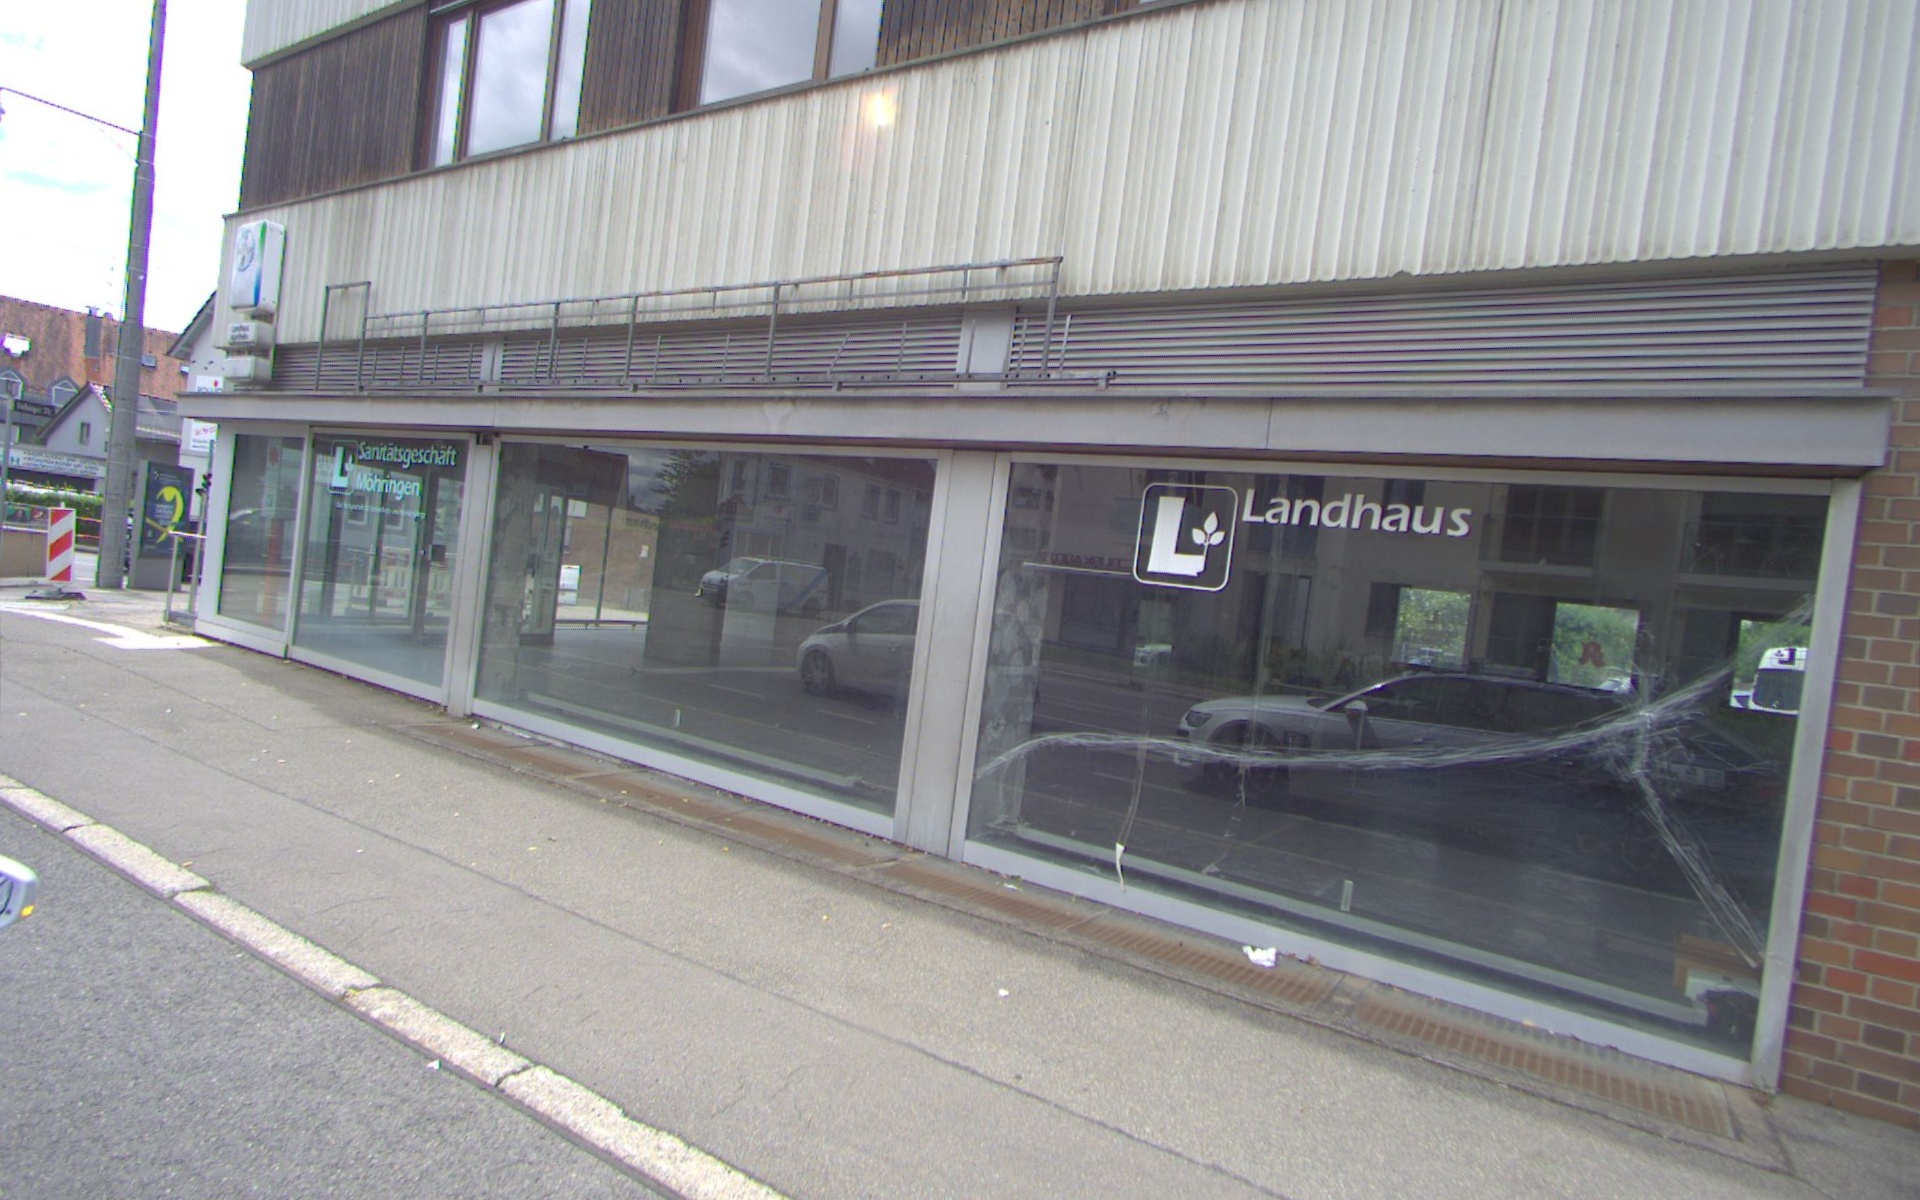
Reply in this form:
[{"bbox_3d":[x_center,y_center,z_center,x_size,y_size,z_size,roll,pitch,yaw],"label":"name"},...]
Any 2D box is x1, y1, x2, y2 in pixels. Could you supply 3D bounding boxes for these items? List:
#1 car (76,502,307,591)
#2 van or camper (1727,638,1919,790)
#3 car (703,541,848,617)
[{"bbox_3d":[-19.941,-1.335,26.346,1.963,1.696,4.306,7,-1,21],"label":"car"},{"bbox_3d":[18.981,2.412,20.059,5.409,2.574,2.058,7,1,4],"label":"van or camper"},{"bbox_3d":[-6.632,-0.739,36.469,4.691,2.037,1.976,9,-2,-44],"label":"car"}]
